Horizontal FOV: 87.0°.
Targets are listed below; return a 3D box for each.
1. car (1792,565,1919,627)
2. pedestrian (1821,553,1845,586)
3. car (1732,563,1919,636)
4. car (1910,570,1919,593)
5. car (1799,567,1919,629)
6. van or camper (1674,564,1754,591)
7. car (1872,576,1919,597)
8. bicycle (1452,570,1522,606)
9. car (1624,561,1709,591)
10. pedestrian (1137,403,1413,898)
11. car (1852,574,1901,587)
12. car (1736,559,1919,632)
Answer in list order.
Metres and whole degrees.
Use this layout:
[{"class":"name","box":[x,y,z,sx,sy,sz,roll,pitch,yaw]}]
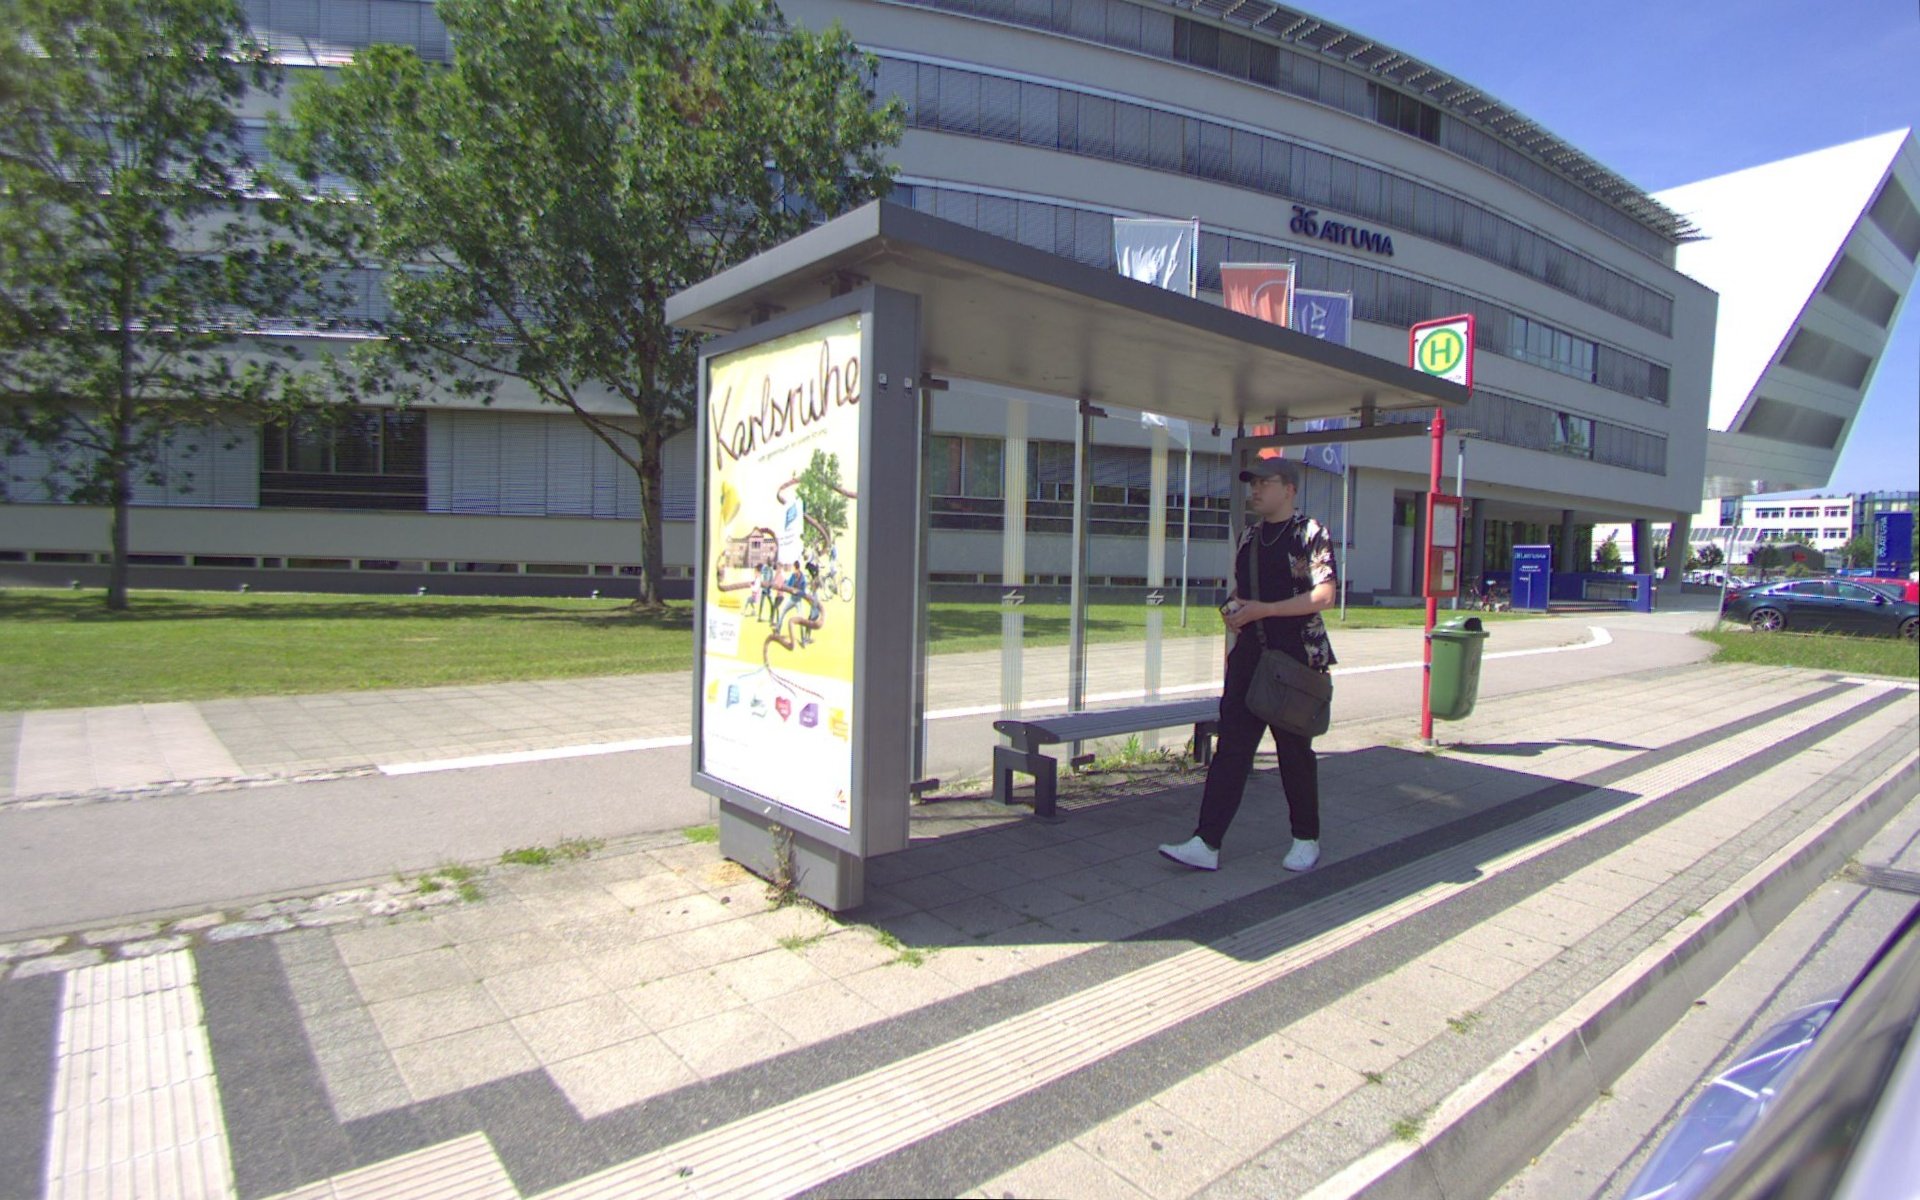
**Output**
[{"class":"car","box":[26.525,-0.094,28.630,1.755,1.582,4.331,-1,4,-40]},{"class":"pedestrian","box":[44.919,-1.563,52.084,0.762,1.680,0.843,-1,1,-43]},{"class":"car","box":[21.197,-0.028,23.785,1.797,1.449,4.576,-1,5,-42]},{"class":"car","box":[92.294,-1.716,93.390,2.124,2.176,6.501,-1,2,-35]},{"class":"car","box":[24.927,-0.048,26.842,1.626,1.504,3.818,-1,4,-39]},{"class":"van or camper","box":[69.755,-2.101,93.709,1.671,2.420,5.707,-1,2,-35]},{"class":"car","box":[78.414,-1.097,83.965,1.710,1.695,3.822,-1,2,-38]},{"class":"bicycle","box":[16.473,-0.396,31.665,0.524,1.073,1.883,-1,2,-37]},{"class":"car","box":[59.899,-2.045,85.868,1.962,2.490,5.588,-1,2,-35]},{"class":"pedestrian","box":[1.329,0.166,4.289,0.812,1.844,0.709,-1,4,-41]},{"class":"car","box":[115.503,-2.474,127.613,1.671,1.678,4.327,-1,2,-35]},{"class":"car","box":[22.802,-0.173,26.178,1.806,1.675,3.997,-1,3,-39]}]
